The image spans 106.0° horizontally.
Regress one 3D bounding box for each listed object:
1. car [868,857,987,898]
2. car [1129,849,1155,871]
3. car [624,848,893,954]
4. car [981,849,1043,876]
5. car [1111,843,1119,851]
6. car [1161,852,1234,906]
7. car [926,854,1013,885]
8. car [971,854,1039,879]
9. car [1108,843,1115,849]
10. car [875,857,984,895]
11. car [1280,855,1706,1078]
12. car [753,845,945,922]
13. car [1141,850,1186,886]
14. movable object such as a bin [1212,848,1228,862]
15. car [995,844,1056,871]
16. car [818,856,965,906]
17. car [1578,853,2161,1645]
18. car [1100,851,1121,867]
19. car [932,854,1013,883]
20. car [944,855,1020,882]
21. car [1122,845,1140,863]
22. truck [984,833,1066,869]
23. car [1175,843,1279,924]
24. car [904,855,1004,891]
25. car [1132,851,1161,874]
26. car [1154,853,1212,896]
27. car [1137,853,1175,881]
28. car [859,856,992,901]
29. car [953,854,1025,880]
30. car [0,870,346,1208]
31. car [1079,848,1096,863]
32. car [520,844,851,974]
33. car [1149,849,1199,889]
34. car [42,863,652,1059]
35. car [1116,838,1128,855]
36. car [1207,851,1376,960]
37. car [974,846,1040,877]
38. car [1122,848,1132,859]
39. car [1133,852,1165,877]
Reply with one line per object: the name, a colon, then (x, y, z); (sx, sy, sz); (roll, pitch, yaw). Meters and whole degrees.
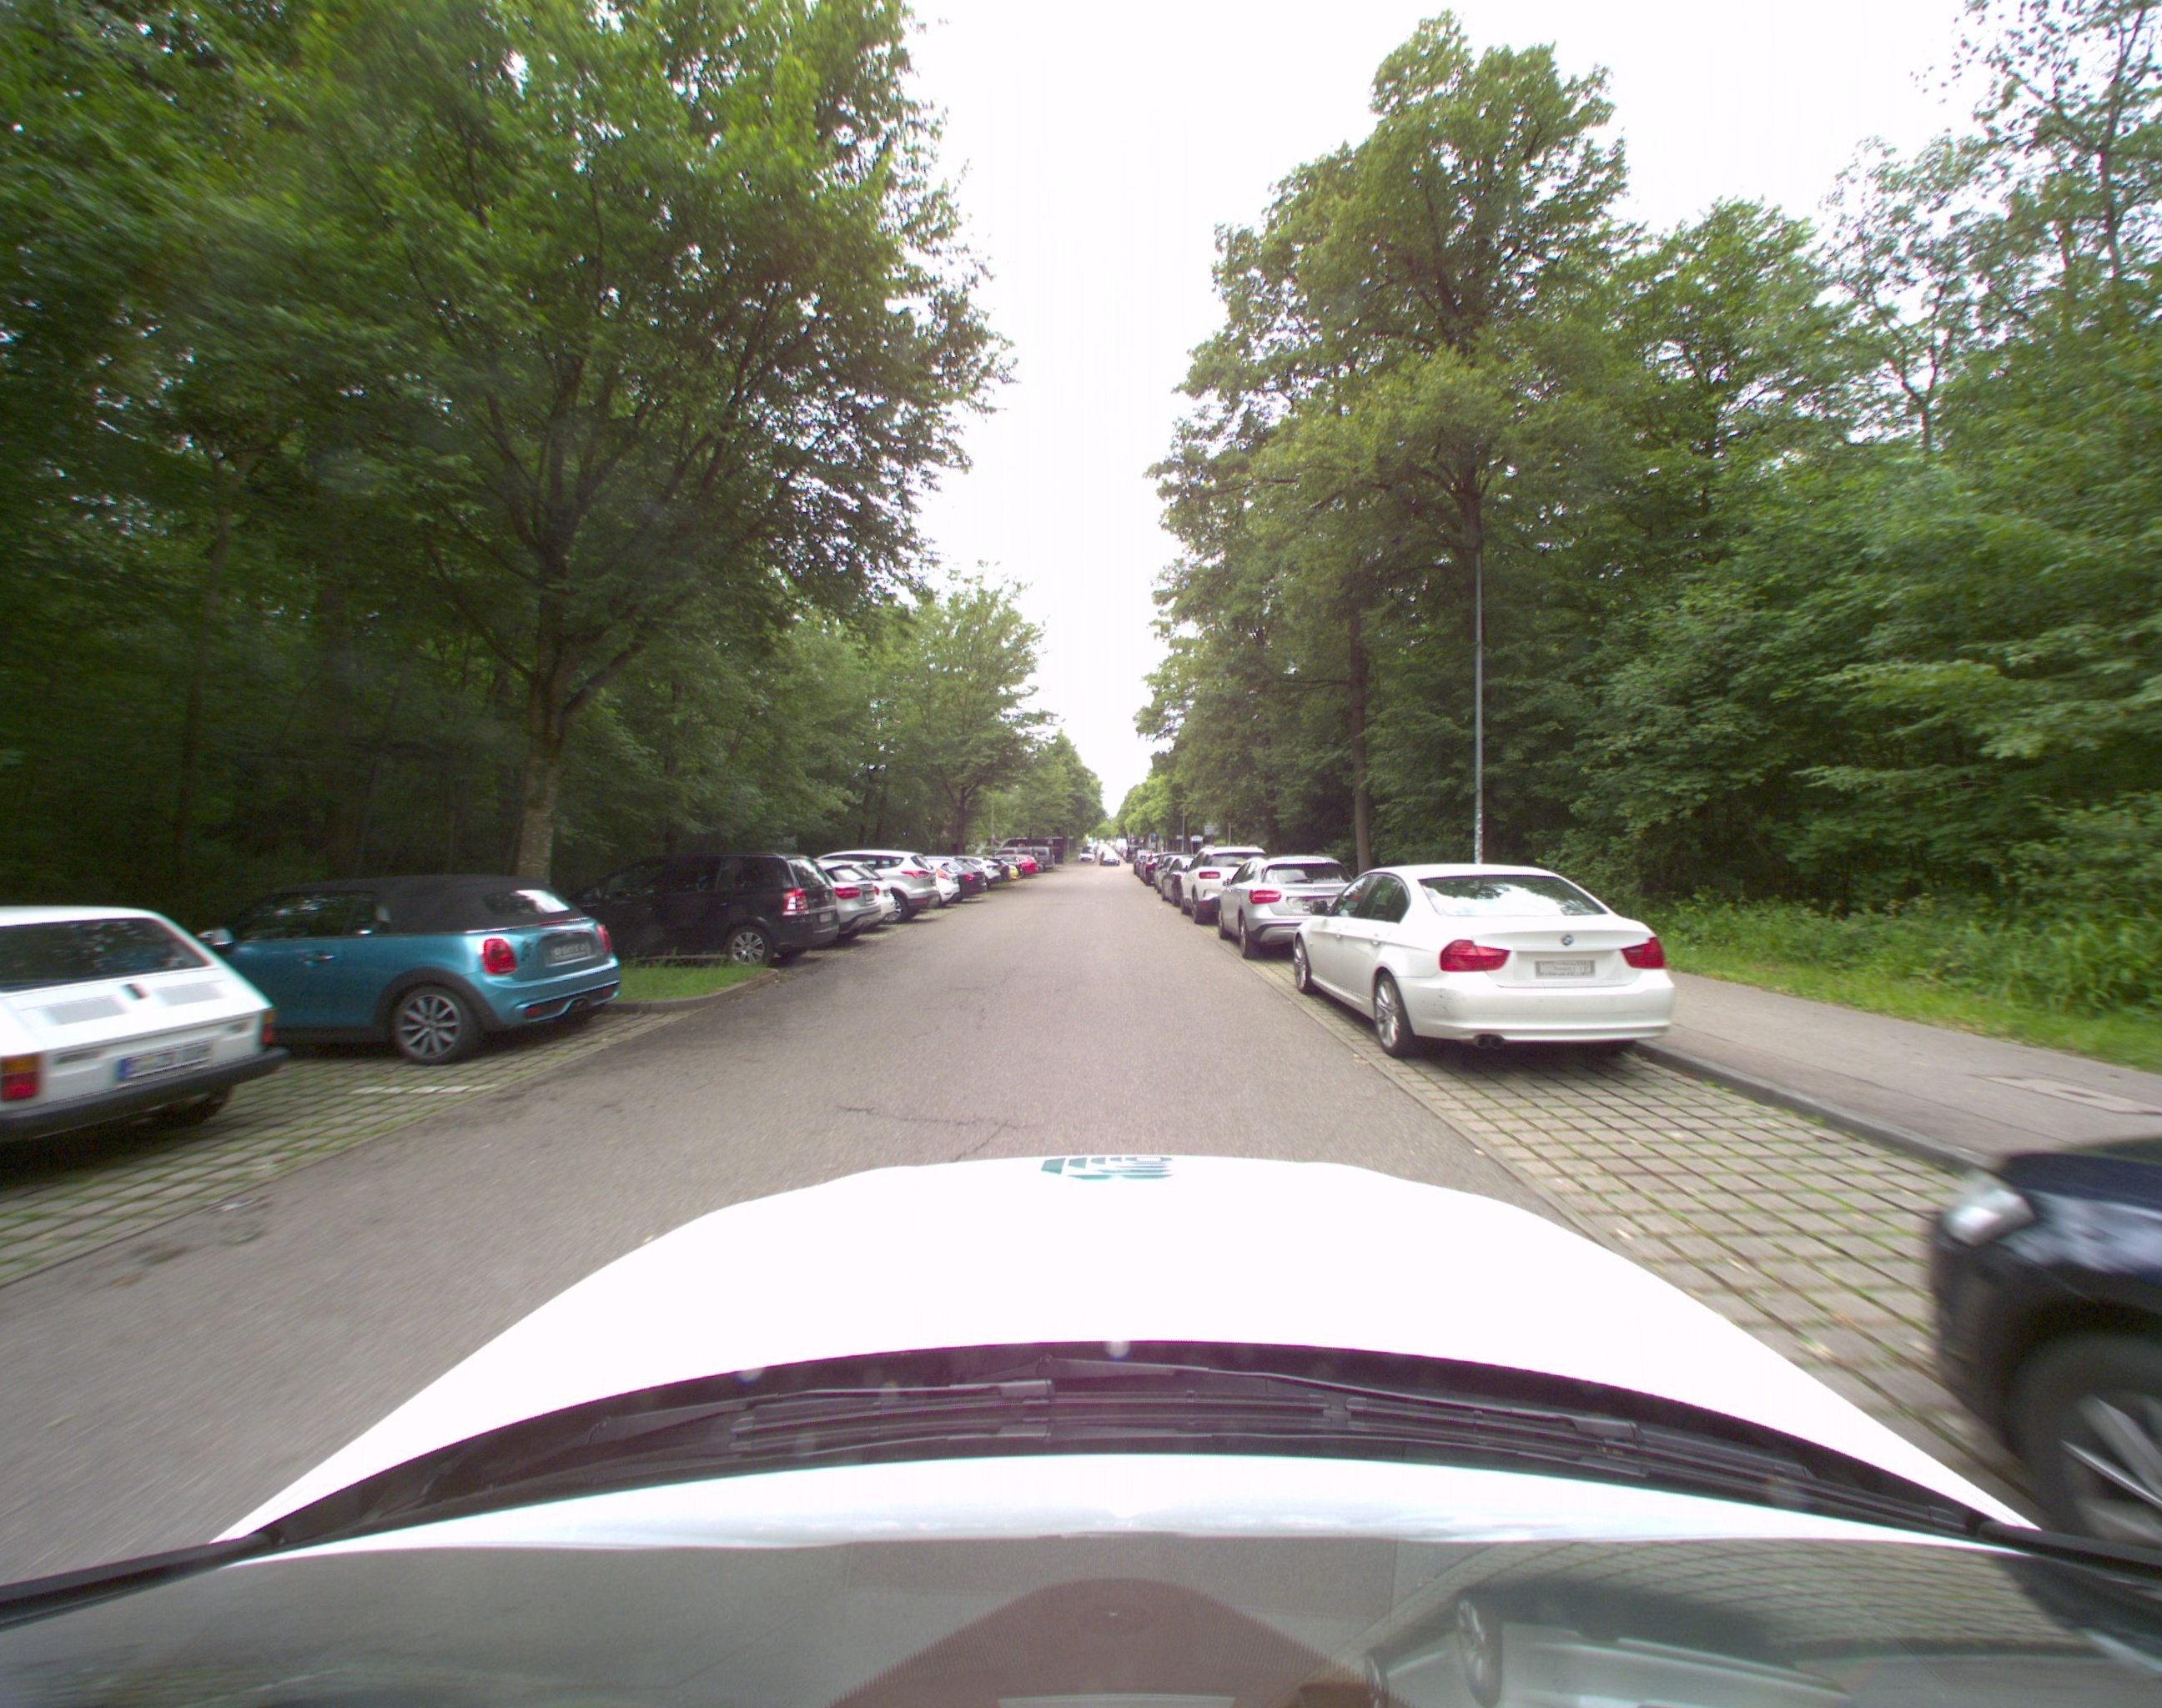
car: (-5.585, 0.844, 29.882); (3.970, 1.435, 1.679); (0, 0, 3)
car: (4.602, 0.449, 62.134); (1.730, 1.633, 4.376); (0, 0, 1)
car: (-5.580, 0.778, 14.444); (3.971, 1.662, 1.815); (-2, 0, 2)
car: (-4.624, 0.536, 54.670); (3.974, 1.765, 1.824); (0, 0, 0)
car: (8.780, -1.839, 211.472); (1.984, 2.014, 4.006); (0, -1, 5)
car: (3.414, 0.692, 24.674); (1.729, 1.474, 4.608); (0, 0, 2)
car: (-5.408, 0.748, 39.765); (3.972, 1.438, 1.715); (0, 0, 1)
car: (-4.591, 0.729, 49.829); (3.975, 1.476, 1.779); (0, 0, -1)
car: (9.103, -2.535, 244.964); (1.889, 1.706, 4.069); (0, -1, 5)
car: (-5.987, 0.856, 32.483); (3.970, 1.435, 1.704); (0, 0, 3)
car: (3.159, 0.718, 7.394); (1.730, 1.407, 4.429); (0, 0, 1)
car: (-5.375, 0.669, 19.284); (3.974, 1.662, 1.814); (-1, 0, 0)
car: (3.859, 0.611, 38.665); (1.730, 1.589, 4.383); (0, 0, 1)
movable object such as a bin: (14.269, 0.113, 83.770); (1.293, 1.442, 1.066); (0, -1, -42)
car: (-4.169, 0.288, 62.015); (4.487, 1.978, 1.891); (0, -1, 0)
car: (-5.612, 0.815, 24.442); (3.970, 1.435, 1.649); (0, -2, 3)
car: (2.842, 0.721, 0.834); (1.731, 1.435, 4.743); (0, 0, -1)
car: (2.988, 0.505, 81.262); (1.863, 1.486, 4.006); (0, -1, 6)
car: (-5.618, 0.751, 42.498); (3.972, 1.438, 1.734); (0, 0, 1)
car: (-5.414, 0.772, 44.817); (3.972, 1.438, 1.618); (0, 0, 1)
car: (5.722, -0.041, 93.396); (1.980, 2.013, 4.111); (0, 0, 3)
truck: (-5.189, -0.242, 74.715); (7.246, 3.236, 3.430); (0, -1, -9)
car: (3.290, 0.604, 19.264); (1.729, 1.643, 5.075); (0, 0, 2)
car: (-5.378, 0.800, 34.831); (3.973, 1.467, 1.715); (0, 0, 1)
car: (4.518, 0.556, 56.332); (1.730, 1.495, 4.234); (0, 0, 1)
car: (3.632, 0.698, 29.470); (1.729, 1.425, 4.156); (0, 0, 2)
car: (4.019, 0.642, 44.030); (1.730, 1.432, 4.502); (0, 0, 1)
car: (-5.053, 0.778, 26.797); (3.970, 1.435, 1.679); (0, 0, 3)
car: (-5.297, 0.747, 47.204); (3.975, 1.438, 1.671); (0, 0, -1)
car: (-6.728, 0.869, 4.359); (3.972, 1.448, 1.772); (-1, 0, 1)
car: (0.679, 0.115, 91.127); (1.760, 1.596, 4.215); (2, 0, -1)
car: (-5.643, 0.751, 11.976); (3.974, 1.662, 1.696); (-2, 0, -1)
car: (3.828, 0.603, 34.074); (1.730, 1.568, 4.009); (0, 0, 1)
car: (-6.266, 0.866, 7.251); (3.969, 1.448, 1.698); (-2, 0, 4)
car: (7.712, -1.393, 151.590); (2.175, 3.015, 4.901); (0, 0, 3)
car: (3.235, 0.703, 13.472); (1.729, 1.479, 4.772); (0, 0, 2)
car: (-4.725, 0.477, 52.234); (3.973, 1.862, 1.814); (-2, 0, 1)
car: (6.886, -0.071, 122.085); (1.463, 1.531, 3.191); (0, 0, 3)
car: (4.186, 0.622, 50.728); (1.730, 1.432, 4.502); (0, 0, 1)
